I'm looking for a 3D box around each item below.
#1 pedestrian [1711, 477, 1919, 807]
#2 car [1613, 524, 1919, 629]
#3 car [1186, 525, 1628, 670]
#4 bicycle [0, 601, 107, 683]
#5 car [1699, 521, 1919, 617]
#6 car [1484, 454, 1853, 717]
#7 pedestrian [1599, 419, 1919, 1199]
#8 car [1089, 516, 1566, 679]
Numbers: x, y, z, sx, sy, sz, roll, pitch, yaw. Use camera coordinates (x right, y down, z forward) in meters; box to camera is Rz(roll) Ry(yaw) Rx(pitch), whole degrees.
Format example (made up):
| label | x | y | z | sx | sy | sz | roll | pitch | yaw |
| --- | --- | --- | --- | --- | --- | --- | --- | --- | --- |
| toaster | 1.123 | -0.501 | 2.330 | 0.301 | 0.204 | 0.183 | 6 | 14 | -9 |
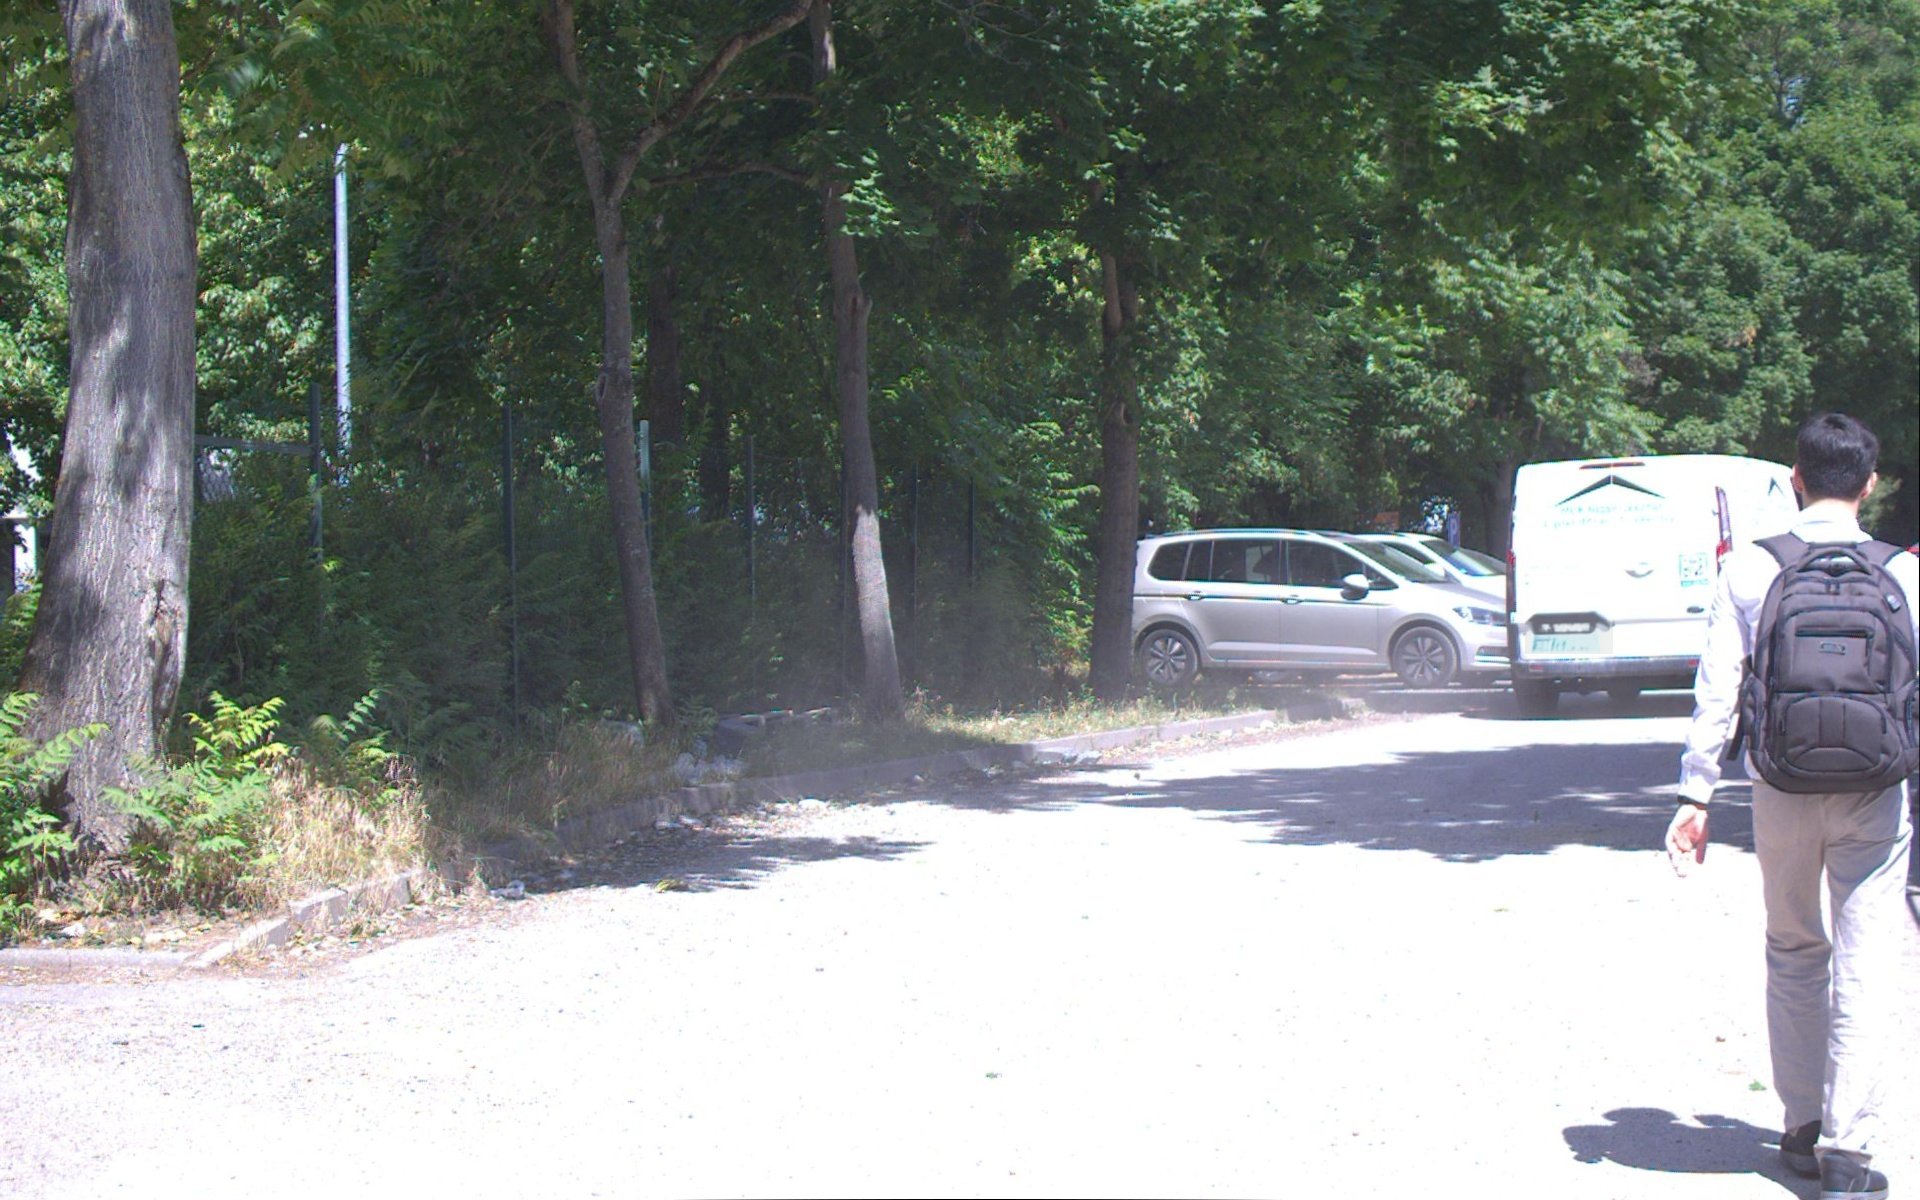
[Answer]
| label | x | y | z | sx | sy | sz | roll | pitch | yaw |
| --- | --- | --- | --- | --- | --- | --- | --- | --- | --- |
| pedestrian | 4.447 | 0.199 | 17.764 | 1.035 | 1.644 | 1.049 | -1 | 1 | 10 |
| car | 12.836 | -0.367 | 54.506 | 4.512 | 1.592 | 1.934 | 0 | 1 | 26 |
| car | 4.922 | -0.033 | 37.933 | 4.511 | 1.526 | 1.723 | 0 | 1 | 25 |
| bicycle | -12.735 | 0.574 | 47.828 | 0.600 | 1.081 | 1.937 | -1 | 1 | 24 |
| car | 15.140 | -0.541 | 59.050 | 4.511 | 1.592 | 1.723 | 0 | 2 | 25 |
| car | 5.831 | -0.150 | 27.843 | 1.975 | 1.940 | 4.575 | -1 | 1 | 24 |
| pedestrian | 1.933 | 0.471 | 7.719 | 0.874 | 1.723 | 1.080 | -1 | 1 | 6 |
| car | 3.806 | 0.003 | 35.661 | 4.512 | 1.604 | 1.997 | 0 | -1 | 26 |
